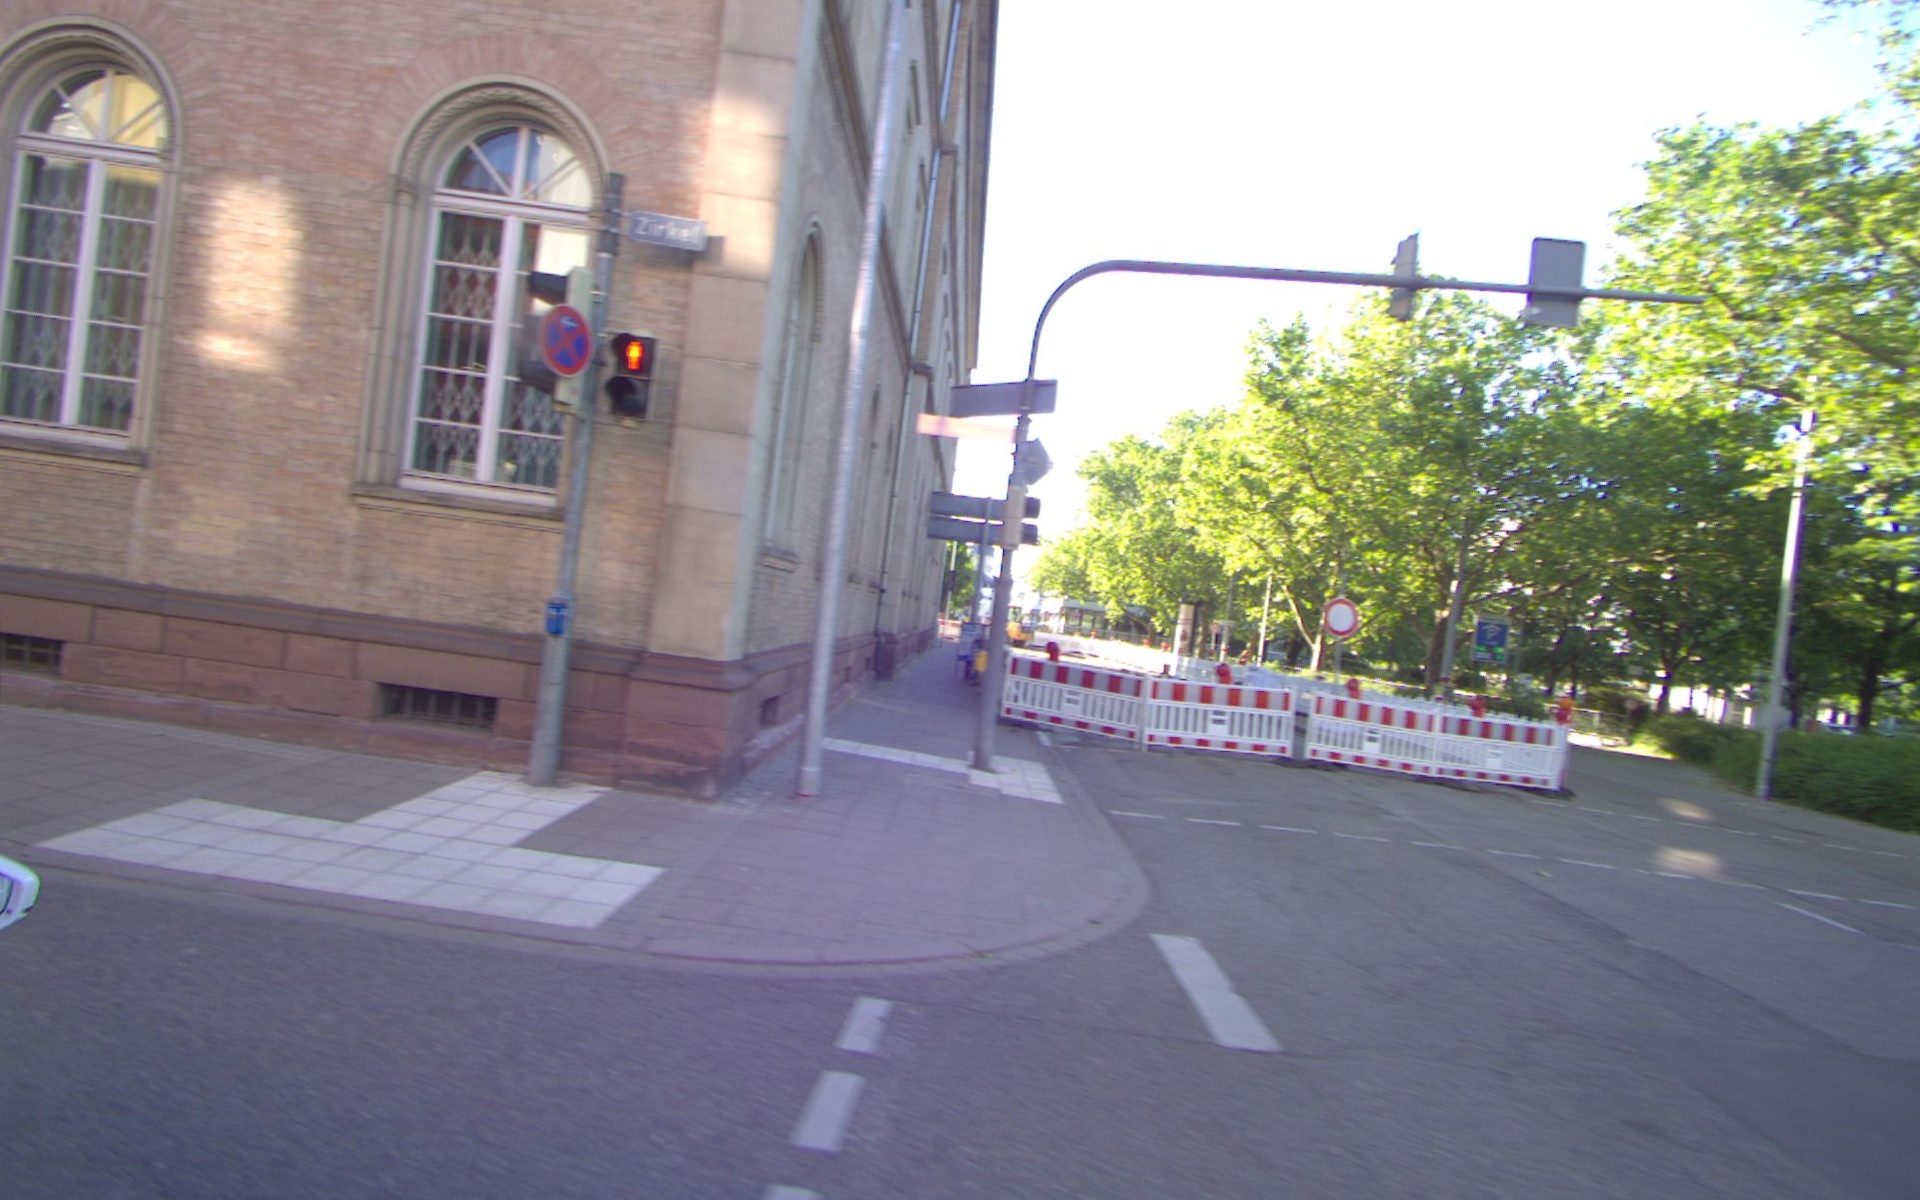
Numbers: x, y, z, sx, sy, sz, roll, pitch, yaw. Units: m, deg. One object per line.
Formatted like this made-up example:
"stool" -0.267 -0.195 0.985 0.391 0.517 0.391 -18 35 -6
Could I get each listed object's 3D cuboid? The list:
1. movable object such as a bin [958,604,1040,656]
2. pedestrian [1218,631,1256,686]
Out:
"movable object such as a bin" 2.616 1.994 67.822 4.776 2.810 2.462 6 -1 43
"pedestrian" 14.580 3.096 52.972 1.399 2.699 1.147 7 0 29
